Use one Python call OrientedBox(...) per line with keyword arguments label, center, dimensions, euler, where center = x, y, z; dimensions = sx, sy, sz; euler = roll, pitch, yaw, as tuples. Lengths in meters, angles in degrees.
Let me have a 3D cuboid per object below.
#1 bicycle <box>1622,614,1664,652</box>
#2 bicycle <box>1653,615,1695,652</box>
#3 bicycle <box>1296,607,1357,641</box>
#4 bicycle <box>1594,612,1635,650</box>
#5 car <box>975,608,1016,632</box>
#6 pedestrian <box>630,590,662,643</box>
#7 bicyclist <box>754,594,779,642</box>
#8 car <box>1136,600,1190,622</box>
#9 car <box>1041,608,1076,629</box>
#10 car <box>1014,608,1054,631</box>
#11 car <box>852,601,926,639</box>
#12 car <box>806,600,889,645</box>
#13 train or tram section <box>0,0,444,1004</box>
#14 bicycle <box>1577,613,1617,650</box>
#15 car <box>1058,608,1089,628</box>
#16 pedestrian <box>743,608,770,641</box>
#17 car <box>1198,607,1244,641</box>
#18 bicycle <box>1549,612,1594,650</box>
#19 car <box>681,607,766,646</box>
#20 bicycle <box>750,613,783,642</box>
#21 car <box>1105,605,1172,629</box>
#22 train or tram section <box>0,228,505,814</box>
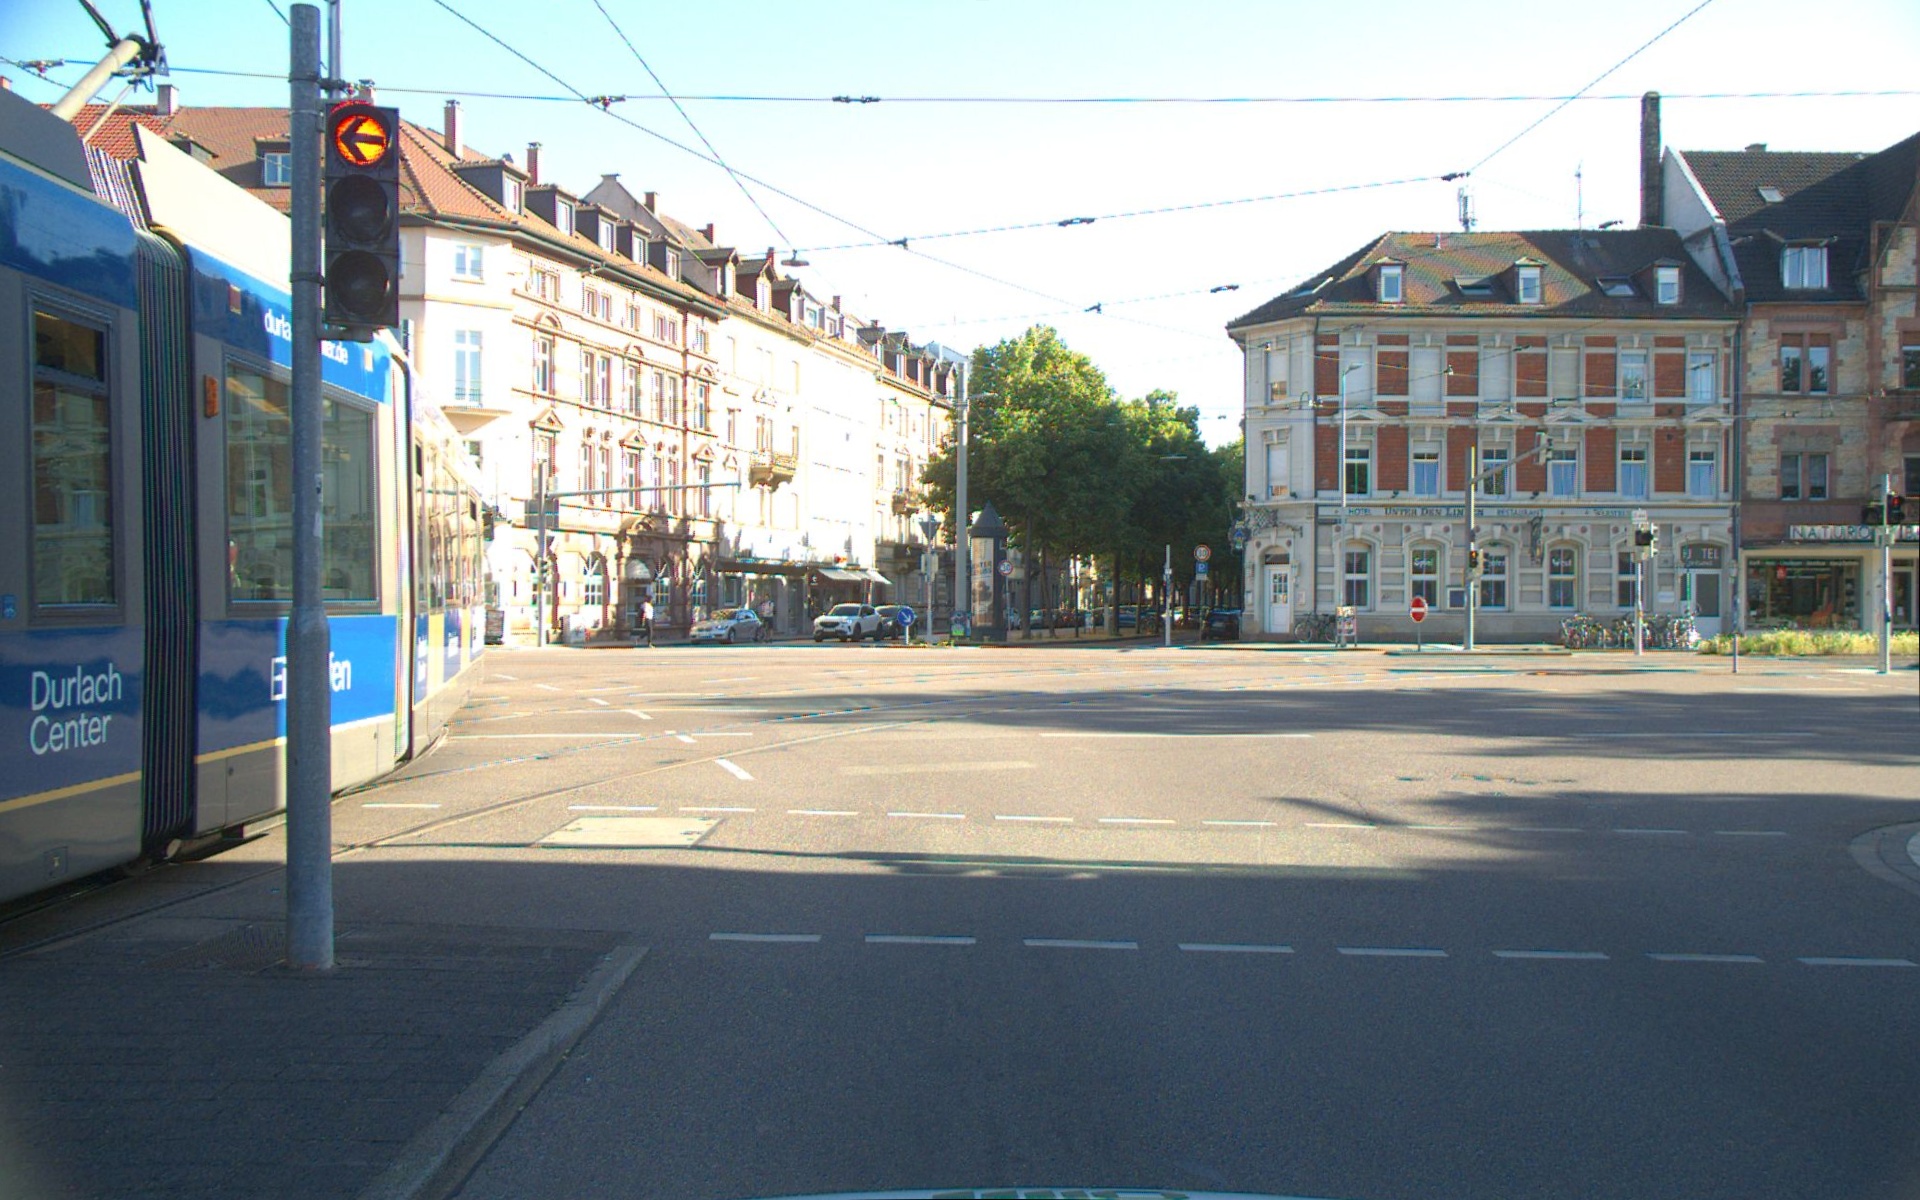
OrientedBox(label="bicycle", center=(22.074, 1.059, 53.452), dimensions=(0.605, 1.163, 2.175), euler=(0, 0, 4))
OrientedBox(label="bicycle", center=(23.038, 1.063, 53.400), dimensions=(0.596, 1.156, 2.136), euler=(0, 0, 4))
OrientedBox(label="bicycle", center=(12.753, 0.820, 57.586), dimensions=(2.045, 1.144, 0.366), euler=(1, -1, -5))
OrientedBox(label="bicycle", center=(21.166, 0.997, 53.512), dimensions=(0.605, 1.163, 2.175), euler=(0, 0, 4))
OrientedBox(label="car", center=(2.420, 1.325, 110.995), dimensions=(1.951, 1.512, 4.003), euler=(0, 0, 13))
OrientedBox(label="pedestrian", center=(-10.611, 0.548, 55.933), dimensions=(1.028, 1.774, 0.805), euler=(0, 0, -15))
OrientedBox(label="bicyclist", center=(-7.582, 0.692, 64.937), dimensions=(0.664, 1.852, 1.071), euler=(0, 0, 12))
OrientedBox(label="car", center=(16.429, 0.888, 133.876), dimensions=(3.912, 1.736, 1.996), euler=(0, 0, 30))
OrientedBox(label="car", center=(7.790, 1.424, 130.566), dimensions=(1.798, 1.579, 4.393), euler=(0, 0, 16))
OrientedBox(label="car", center=(5.536, 1.426, 122.742), dimensions=(1.951, 1.640, 4.393), euler=(0, 0, 17))
OrientedBox(label="car", center=(-3.144, 0.861, 73.793), dimensions=(1.951, 1.640, 4.393), euler=(0, 0, 17))
OrientedBox(label="car", center=(-4.539, 0.883, 67.259), dimensions=(1.951, 1.713, 4.393), euler=(0, 0, 17))
OrientedBox(label="train or tram section", center=(-4.654, -0.412, 6.409), dimensions=(2.757, 3.561, 8.460), euler=(0, 0, -1))
OrientedBox(label="bicycle", center=(20.594, 1.002, 53.542), dimensions=(0.605, 1.163, 2.175), euler=(0, 0, 4))
OrientedBox(label="car", center=(9.403, 1.463, 136.467), dimensions=(1.727, 1.576, 4.394), euler=(0, 0, 16))
OrientedBox(label="pedestrian", center=(-9.634, 1.149, 78.397), dimensions=(0.908, 1.562, 1.138), euler=(0, 0, 13))
OrientedBox(label="car", center=(13.075, 1.162, 82.637), dimensions=(1.951, 1.613, 4.003), euler=(0, 0, 13))
OrientedBox(label="bicycle", center=(19.823, 0.992, 53.660), dimensions=(0.789, 1.163, 2.175), euler=(0, 0, 4))
OrientedBox(label="car", center=(-9.523, 1.033, 66.906), dimensions=(1.858, 1.481, 4.002), euler=(0, 0, 17))
OrientedBox(label="bicycle", center=(-7.593, 1.079, 64.895), dimensions=(0.665, 1.085, 2.127), euler=(0, 0, 12))
OrientedBox(label="car", center=(12.485, 1.200, 115.577), dimensions=(4.290, 1.640, 1.998), euler=(0, 0, 26))
OrientedBox(label="train or tram section", center=(-6.096, -0.519, 16.163), dimensions=(2.723, 3.561, 11.989), euler=(0, 0, -13))
